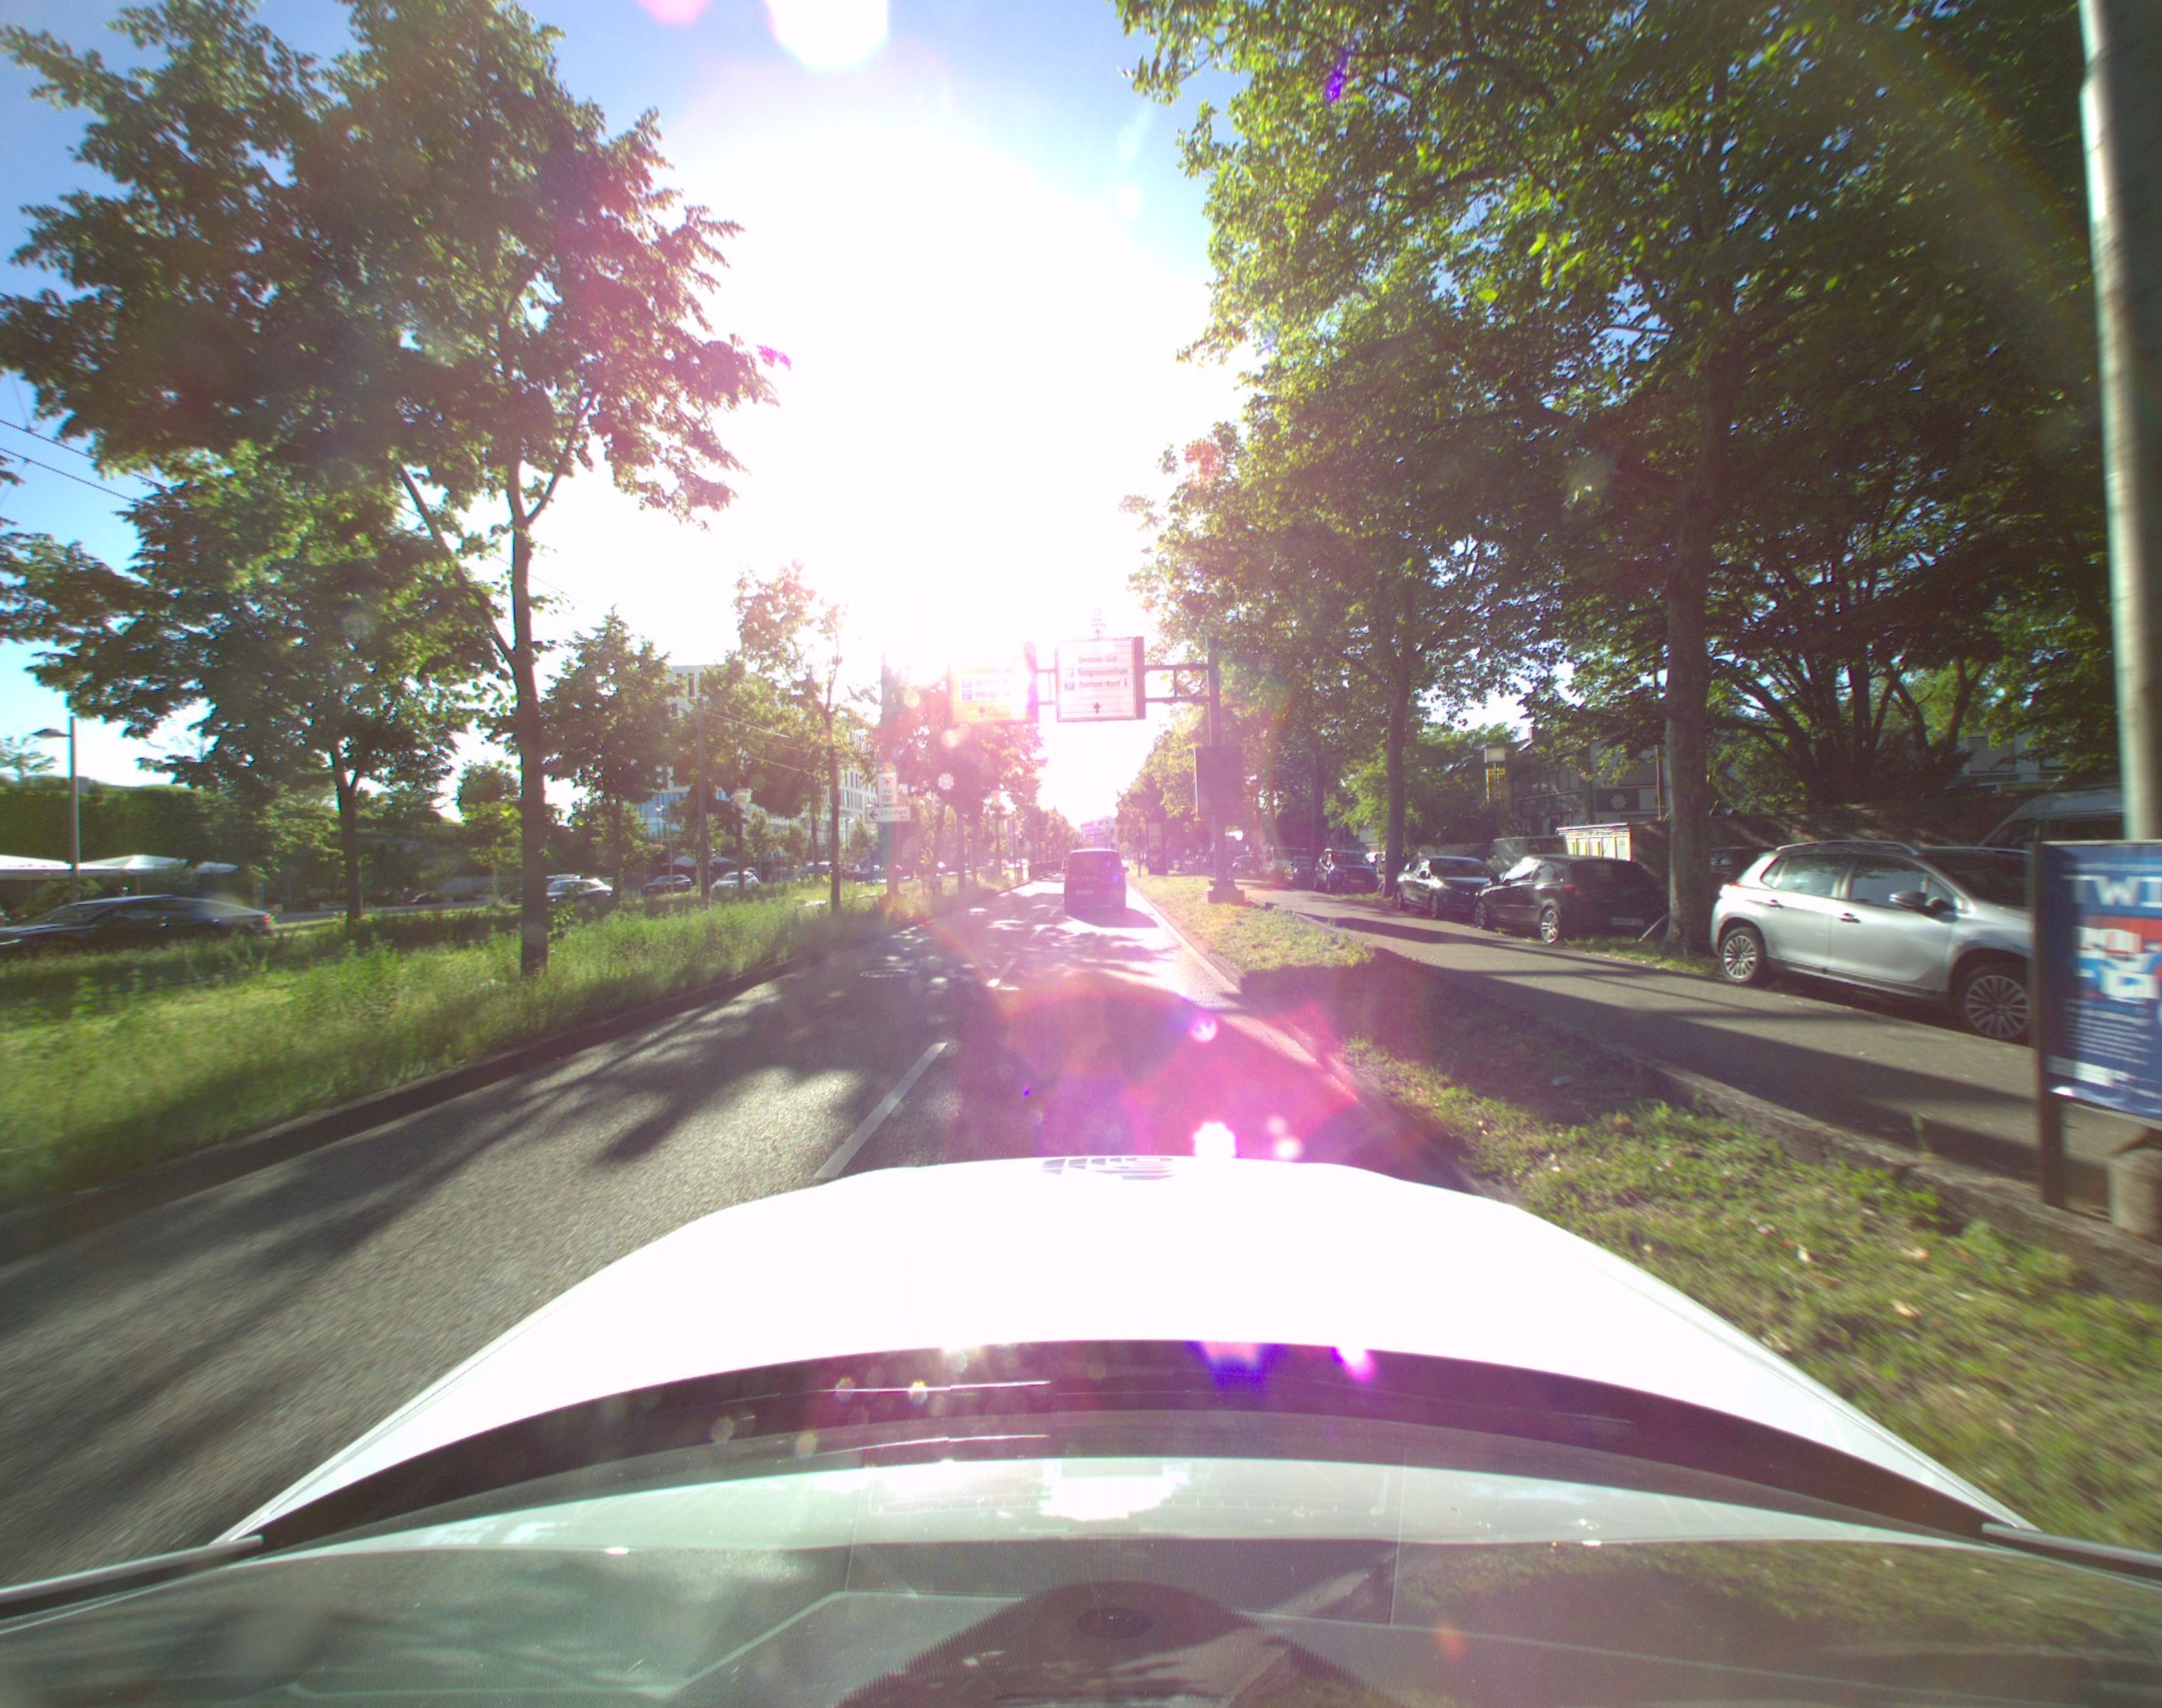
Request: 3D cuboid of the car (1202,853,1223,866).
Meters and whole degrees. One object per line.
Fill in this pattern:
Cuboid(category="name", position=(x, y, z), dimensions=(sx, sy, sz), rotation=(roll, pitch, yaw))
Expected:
Cuboid(category="car", position=(15.616, 0.647, 96.952), dimensions=(1.864, 1.434, 4.903), rotation=(0, -1, 1))

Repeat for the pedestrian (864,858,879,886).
Cuboid(category="pedestrian", position=(-14.074, 1.186, 54.627), dimensions=(0.818, 1.836, 0.726), rotation=(0, -1, -1))

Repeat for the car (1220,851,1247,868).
Cuboid(category="car", position=(12.692, 0.463, 67.941), dimensions=(1.988, 1.384, 4.754), rotation=(0, -1, 7))

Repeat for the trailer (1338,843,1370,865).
Cuboid(category="trailer", position=(21.957, 0.021, 65.685), dimensions=(1.722, 1.640, 3.028), rotation=(-4, -1, 6))

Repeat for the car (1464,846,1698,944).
Cuboid(category="car", position=(8.274, 0.627, 13.934), dimensions=(1.785, 1.438, 3.887), rotation=(0, -1, 3))

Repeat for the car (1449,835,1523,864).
Cuboid(category="car", position=(27.104, -0.292, 54.581), dimensions=(4.067, 1.851, 1.850), rotation=(0, -1, 2))

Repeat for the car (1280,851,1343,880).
Cuboid(category="car", position=(10.761, 0.544, 38.306), dimensions=(1.985, 1.290, 4.055), rotation=(0, -1, 3))

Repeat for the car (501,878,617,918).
Cuboid(category="car", position=(-21.915, 1.802, 34.421), dimensions=(1.986, 1.528, 4.320), rotation=(0, -1, 1))

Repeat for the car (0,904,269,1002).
Cuboid(category="car", position=(-19.176, 1.813, 15.888), dimensions=(1.985, 1.441, 4.461), rotation=(0, -1, 4))

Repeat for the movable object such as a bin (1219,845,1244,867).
Cuboid(category="movable object such as a bin", position=(13.882, 0.213, 75.371), dimensions=(2.071, 2.014, 2.139), rotation=(0, -1, 5))

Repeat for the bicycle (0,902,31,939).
Cuboid(category="bicycle", position=(-37.667, 2.321, 28.029), dimensions=(0.586, 1.252, 1.840), rotation=(0, -1, 1))

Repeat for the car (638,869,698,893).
Cuboid(category="car", position=(-29.907, 1.948, 59.131), dimensions=(1.871, 1.621, 4.613), rotation=(0, -1, 3))

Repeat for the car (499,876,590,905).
Cuboid(category="car", position=(-30.033, 2.009, 45.808), dimensions=(1.871, 1.434, 4.614), rotation=(-2, 0, 3))

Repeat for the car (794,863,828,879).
Cuboid(category="car", position=(-28.812, 1.767, 87.063), dimensions=(1.985, 1.672, 4.613), rotation=(0, -1, 3))

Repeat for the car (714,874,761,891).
Cuboid(category="car", position=(-29.540, 2.446, 70.094), dimensions=(1.905, 1.325, 4.613), rotation=(0, -1, 3))

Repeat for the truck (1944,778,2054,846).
Cuboid(category="truck", position=(45.499, -2.022, 40.440), dimensions=(2.467, 3.269, 2.722), rotation=(0, 1, 9))

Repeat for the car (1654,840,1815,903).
Cuboid(category="car", position=(17.899, 0.455, 22.540), dimensions=(1.681, 1.472, 3.765), rotation=(-4, -1, 7))

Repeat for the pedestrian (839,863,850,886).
Cuboid(category="pedestrian", position=(-15.446, 1.326, 53.200), dimensions=(0.547, 1.518, 0.589), rotation=(0, -1, 6))

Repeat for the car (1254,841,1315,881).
Cuboid(category="car", position=(11.032, 0.383, 44.635), dimensions=(2.181, 2.014, 5.824), rotation=(0, -1, 3))

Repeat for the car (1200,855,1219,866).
Cuboid(category="car", position=(16.441, 0.873, 104.554), dimensions=(1.864, 1.368, 4.001), rotation=(0, -1, 1))

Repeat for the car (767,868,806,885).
Cuboid(category="car", position=(-29.223, 2.212, 81.020), dimensions=(1.985, 1.608, 4.613), rotation=(0, -1, 3))

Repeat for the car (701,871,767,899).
Cuboid(category="car", position=(-21.378, 1.878, 50.362), dimensions=(1.984, 1.571, 4.171), rotation=(-2, 0, 4))

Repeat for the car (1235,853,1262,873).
Cuboid(category="car", position=(12.763, 0.702, 62.035), dimensions=(1.654, 1.500, 2.992), rotation=(0, -1, 4))

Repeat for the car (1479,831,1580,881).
Cuboid(category="car", position=(19.468, 0.094, 35.644), dimensions=(2.076, 2.014, 4.951), rotation=(-1, 0, 6))

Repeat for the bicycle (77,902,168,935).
Cuboid(category="bicycle", position=(-32.975, 2.200, 28.081), dimensions=(0.495, 1.001, 2.189), rotation=(0, -1, 1))

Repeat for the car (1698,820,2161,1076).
Cuboid(category="car", position=(7.555, 0.618, 6.937), dimensions=(1.785, 1.560, 4.025), rotation=(1, -1, 5))

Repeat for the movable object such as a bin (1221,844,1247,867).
Cuboid(category="movable object such as a bin", position=(13.629, 0.172, 72.612), dimensions=(2.071, 2.014, 2.139), rotation=(0, -1, 5))

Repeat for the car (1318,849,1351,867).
Cuboid(category="car", position=(23.447, 0.360, 75.481), dimensions=(1.985, 1.640, 4.003), rotation=(0, -1, 3))

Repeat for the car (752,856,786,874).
Cuboid(category="car", position=(-36.558, 1.270, 95.535), dimensions=(1.985, 2.014, 4.566), rotation=(0, -1, 3))

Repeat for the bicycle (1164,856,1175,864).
Cuboid(category="bicycle", position=(15.356, 1.053, 141.020), dimensions=(1.910, 1.268, 0.479), rotation=(-1, 0, 2))

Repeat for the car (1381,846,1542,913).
Cuboid(category="car", position=(8.828, 0.558, 19.410), dimensions=(1.984, 1.381, 4.683), rotation=(1, 0, 5))

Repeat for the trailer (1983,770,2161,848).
Cuboid(category="trailer", position=(50.292, -2.149, 39.688), dimensions=(8.733, 3.564, 2.691), rotation=(0, -1, 9))

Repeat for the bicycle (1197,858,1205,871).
Cuboid(category="bicycle", position=(9.759, 0.876, 66.213), dimensions=(0.491, 1.046, 1.905), rotation=(0, -1, 3))

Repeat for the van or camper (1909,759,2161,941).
Cuboid(category="van or camper", position=(17.274, -0.140, 12.626), dimensions=(2.543, 2.684, 6.576), rotation=(-4, 0, 6))

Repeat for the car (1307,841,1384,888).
Cuboid(category="car", position=(9.989, 0.401, 31.121), dimensions=(1.729, 1.642, 4.356), rotation=(0, -1, 3))

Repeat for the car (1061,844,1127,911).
Cuboid(category="car", position=(0.315, 0.660, 24.247), dimensions=(1.803, 1.838, 3.997), rotation=(0, -1, -1))

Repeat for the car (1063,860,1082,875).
Cuboid(category="car", position=(-0.942, 1.538, 91.498), dimensions=(1.986, 1.618, 4.001), rotation=(0, -1, 2))

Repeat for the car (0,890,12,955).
Cuboid(category="car", position=(-30.744, 1.867, 20.250), dimensions=(1.987, 1.772, 4.774), rotation=(0, -1, -1))

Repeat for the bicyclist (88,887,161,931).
Cuboid(category="bicyclist", position=(-32.981, 1.882, 28.116), dimensions=(0.487, 1.406, 1.661), rotation=(0, -1, 1))
